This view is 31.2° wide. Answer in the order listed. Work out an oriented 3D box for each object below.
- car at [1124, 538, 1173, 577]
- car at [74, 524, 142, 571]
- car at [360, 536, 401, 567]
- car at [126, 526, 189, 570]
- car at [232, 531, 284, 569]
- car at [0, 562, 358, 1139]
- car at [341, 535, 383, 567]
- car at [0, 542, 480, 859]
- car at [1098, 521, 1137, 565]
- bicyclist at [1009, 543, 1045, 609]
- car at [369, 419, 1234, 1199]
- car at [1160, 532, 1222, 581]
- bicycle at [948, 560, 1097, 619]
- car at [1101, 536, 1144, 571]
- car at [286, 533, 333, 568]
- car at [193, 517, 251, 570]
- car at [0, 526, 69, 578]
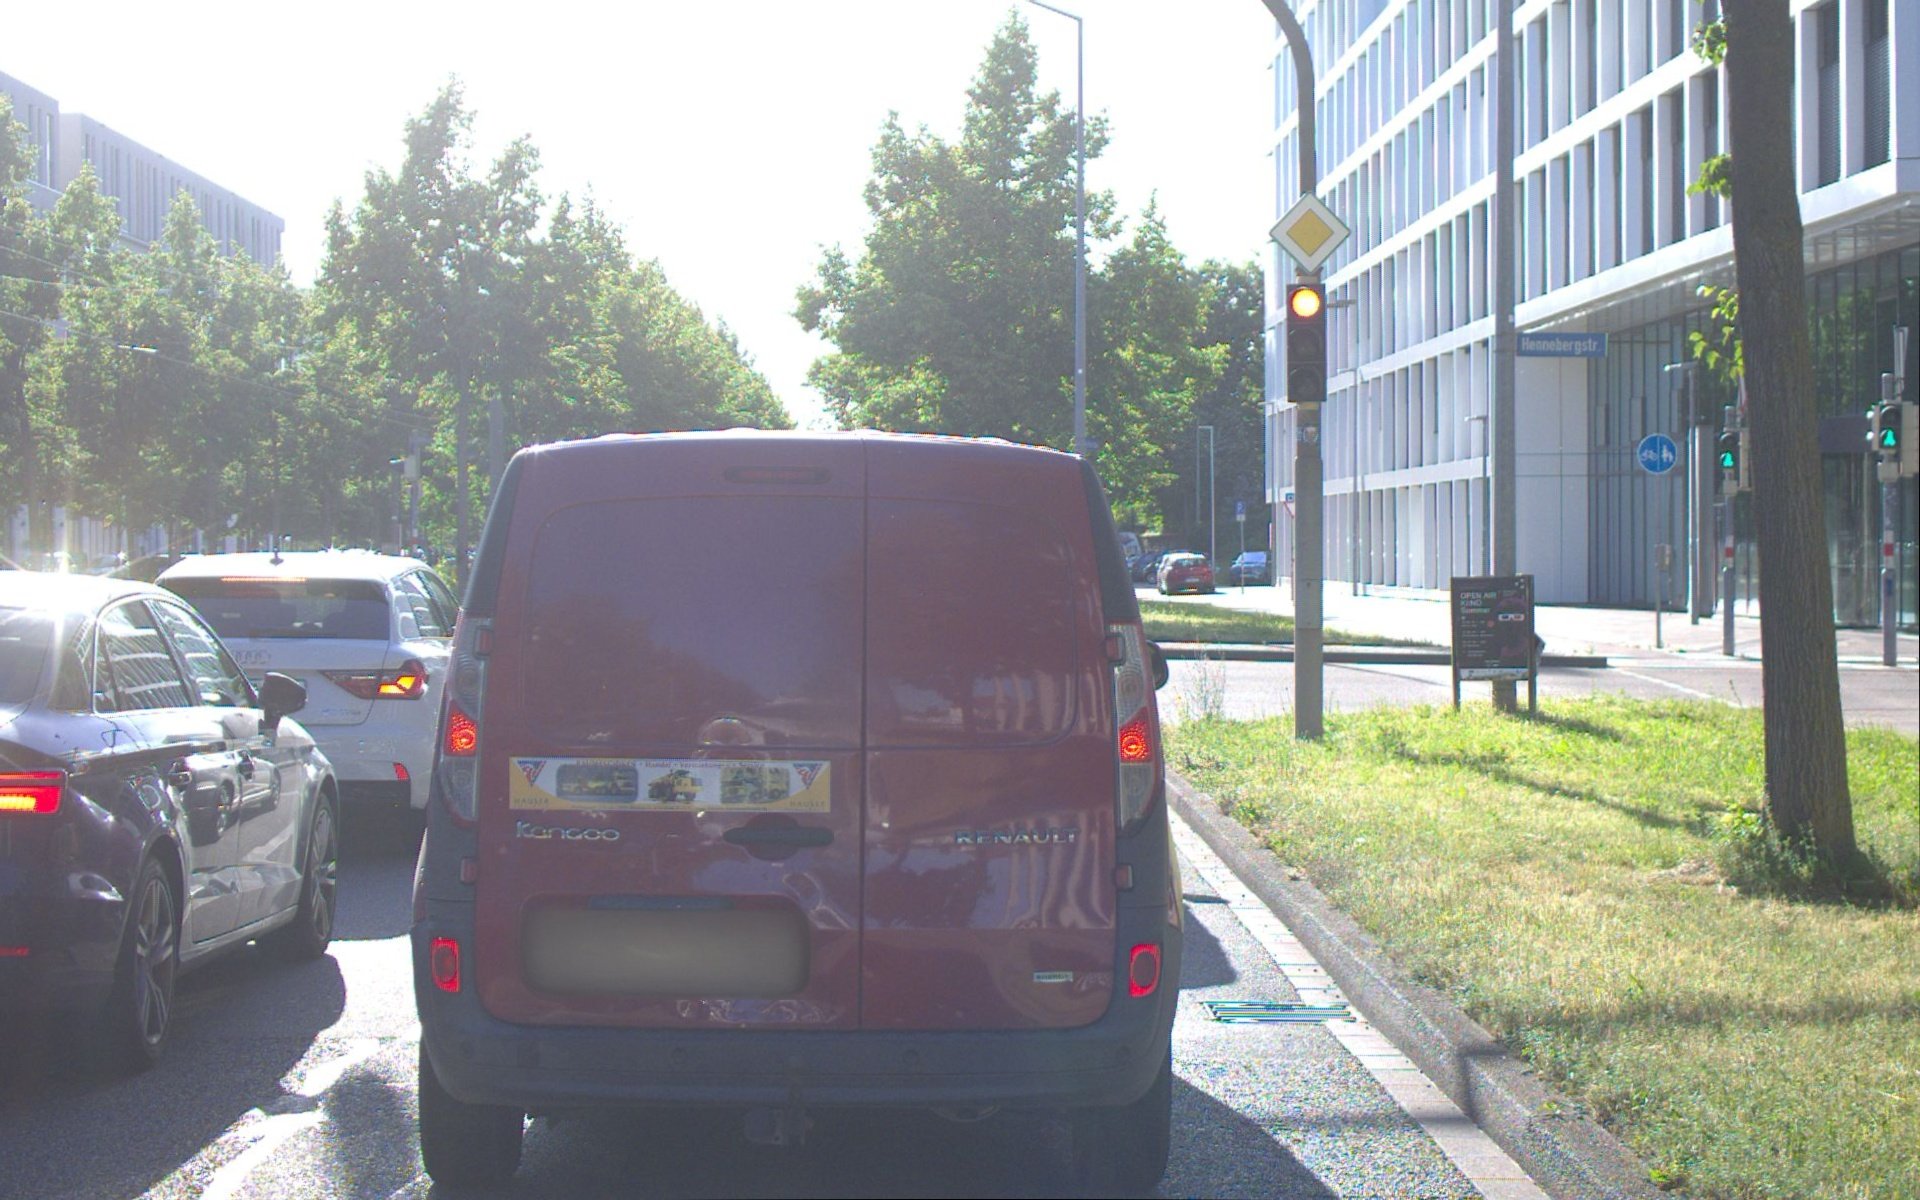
[{"bbox_3d":[8.792,-2.009,160.610,1.993,1.776,4.000,0,1,-1],"label":"car"},{"bbox_3d":[-36.972,-2.284,149.314,1.993,2.007,4.000,0,1,-1],"label":"car"},{"bbox_3d":[-37.541,-3.169,222.857,1.993,2.007,4.000,0,1,-1],"label":"car"},{"bbox_3d":[-36.959,-2.391,158.415,1.993,2.007,4.000,0,1,-1],"label":"car"},{"bbox_3d":[-37.220,-2.682,182.401,1.993,2.007,4.000,0,1,-1],"label":"car"},{"bbox_3d":[-3.180,0.612,10.866,1.842,1.421,4.339,0,1,-1],"label":"car"},{"bbox_3d":[-37.752,-3.111,217.233,1.993,2.007,4.000,0,1,-1],"label":"car"},{"bbox_3d":[-3.604,0.425,17.547,1.803,1.421,3.901,0,1,-1],"label":"car"},{"bbox_3d":[9.078,-3.278,198.317,1.993,2.488,4.987,0,1,-1],"label":"car"},{"bbox_3d":[1.283,-0.463,65.982,0.680,1.270,0.820,0,1,1],"label":"bicyclist"},{"bbox_3d":[-0.364,0.465,9.343,1.842,1.774,4.000,0,1,-1],"label":"car"},{"bbox_3d":[8.585,-1.634,127.989,1.993,1.776,4.000,0,1,-1],"label":"car"},{"bbox_3d":[1.198,-0.205,65.974,2.837,1.111,0.820,0,1,1],"label":"bicycle"},{"bbox_3d":[8.493,-2.444,179.807,1.993,1.776,4.000,0,1,-1],"label":"car"},{"bbox_3d":[-37.671,-2.897,199.215,1.993,2.007,4.000,0,1,-1],"label":"car"},{"bbox_3d":[-36.127,-2.771,168.342,1.993,2.598,4.000,0,1,-1],"label":"car"},{"bbox_3d":[-36.891,-1.912,136.488,1.993,2.007,4.000,0,1,-1],"label":"car"}]
